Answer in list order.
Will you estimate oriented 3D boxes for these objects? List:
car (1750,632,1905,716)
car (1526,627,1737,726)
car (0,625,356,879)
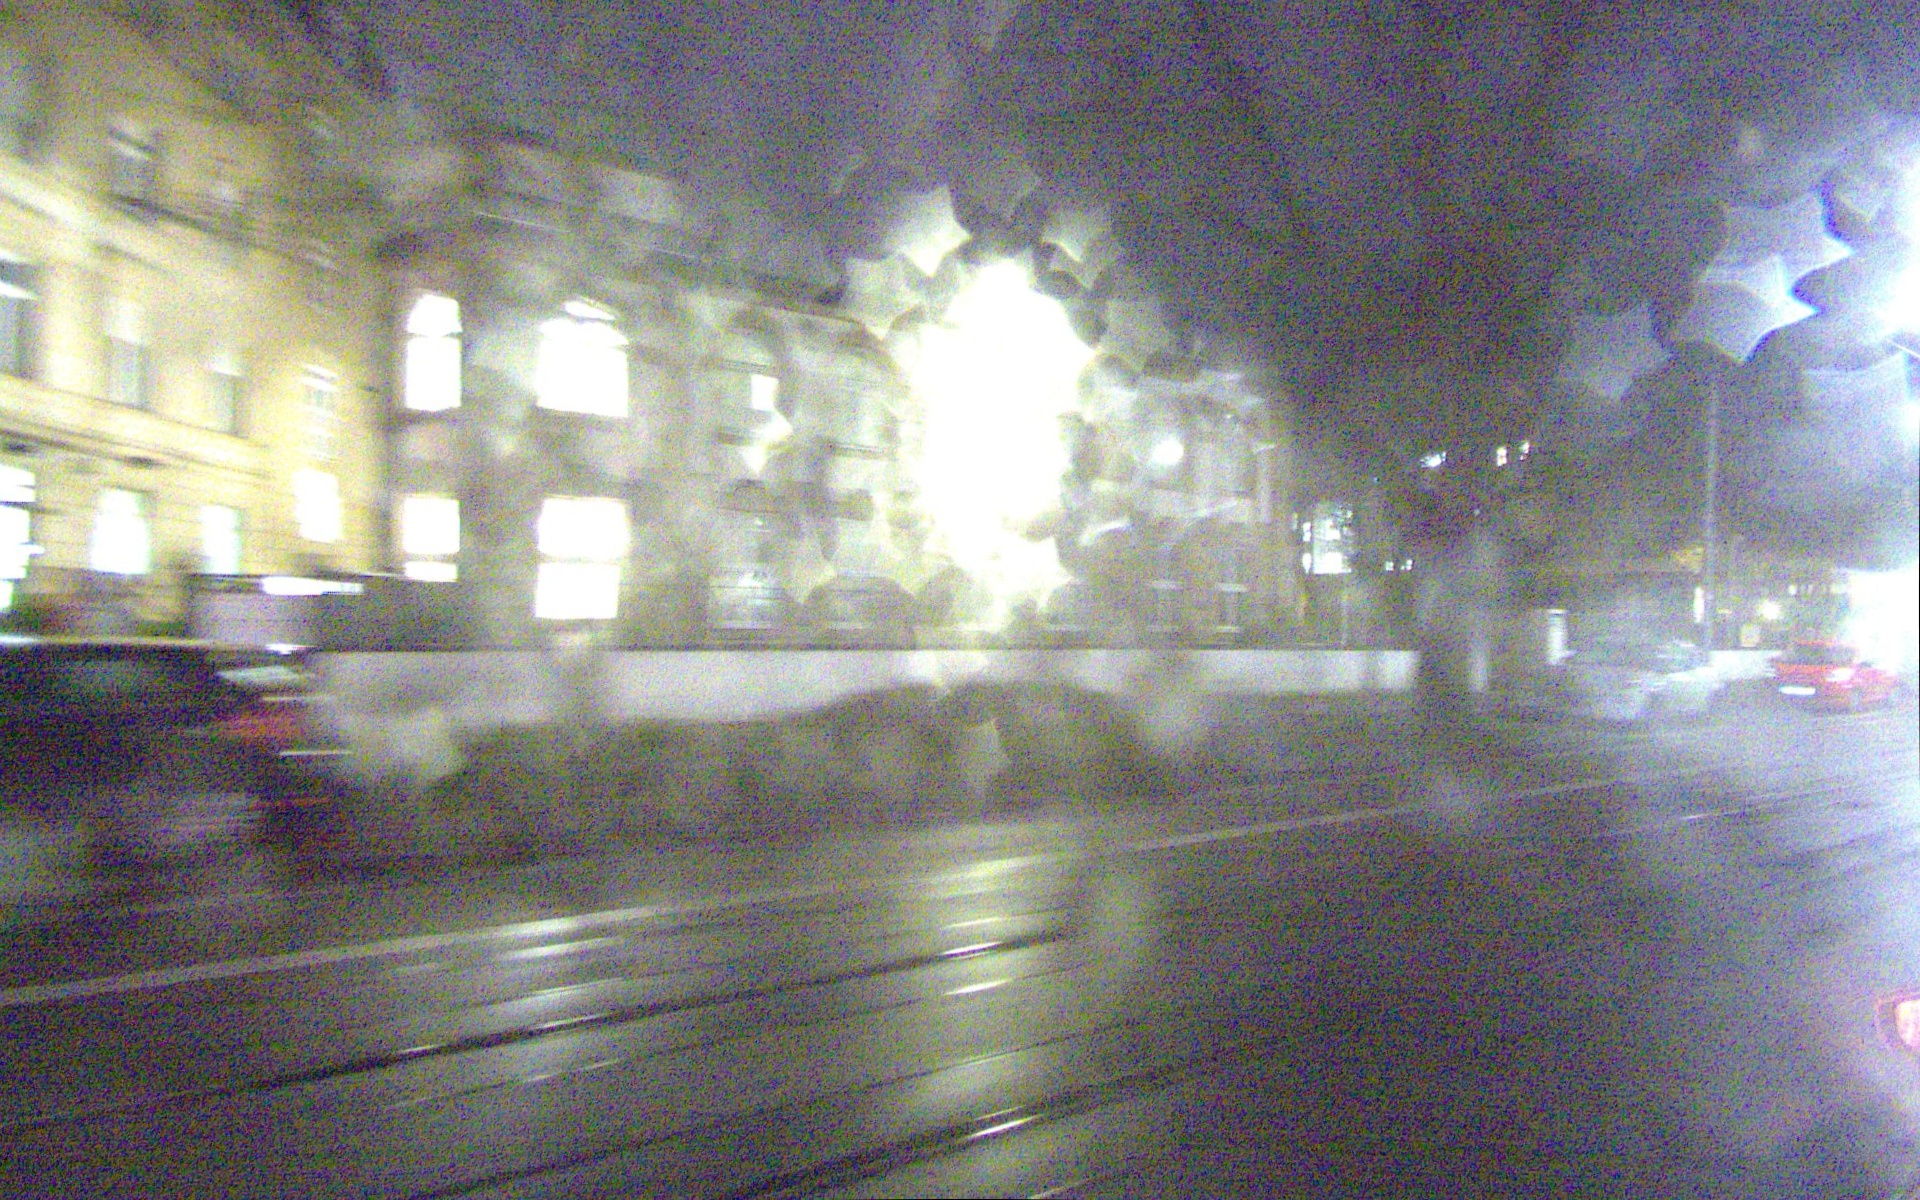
[{"bbox_3d":[18.753,1.535,21.679,3.580,1.527,1.631,0,1,-34],"label":"car"},{"bbox_3d":[11.488,1.255,17.130,3.767,1.447,1.600,2,0,-33],"label":"car"},{"bbox_3d":[-6.267,0.909,6.495,3.954,1.405,1.660,3,0,-30],"label":"car"}]
